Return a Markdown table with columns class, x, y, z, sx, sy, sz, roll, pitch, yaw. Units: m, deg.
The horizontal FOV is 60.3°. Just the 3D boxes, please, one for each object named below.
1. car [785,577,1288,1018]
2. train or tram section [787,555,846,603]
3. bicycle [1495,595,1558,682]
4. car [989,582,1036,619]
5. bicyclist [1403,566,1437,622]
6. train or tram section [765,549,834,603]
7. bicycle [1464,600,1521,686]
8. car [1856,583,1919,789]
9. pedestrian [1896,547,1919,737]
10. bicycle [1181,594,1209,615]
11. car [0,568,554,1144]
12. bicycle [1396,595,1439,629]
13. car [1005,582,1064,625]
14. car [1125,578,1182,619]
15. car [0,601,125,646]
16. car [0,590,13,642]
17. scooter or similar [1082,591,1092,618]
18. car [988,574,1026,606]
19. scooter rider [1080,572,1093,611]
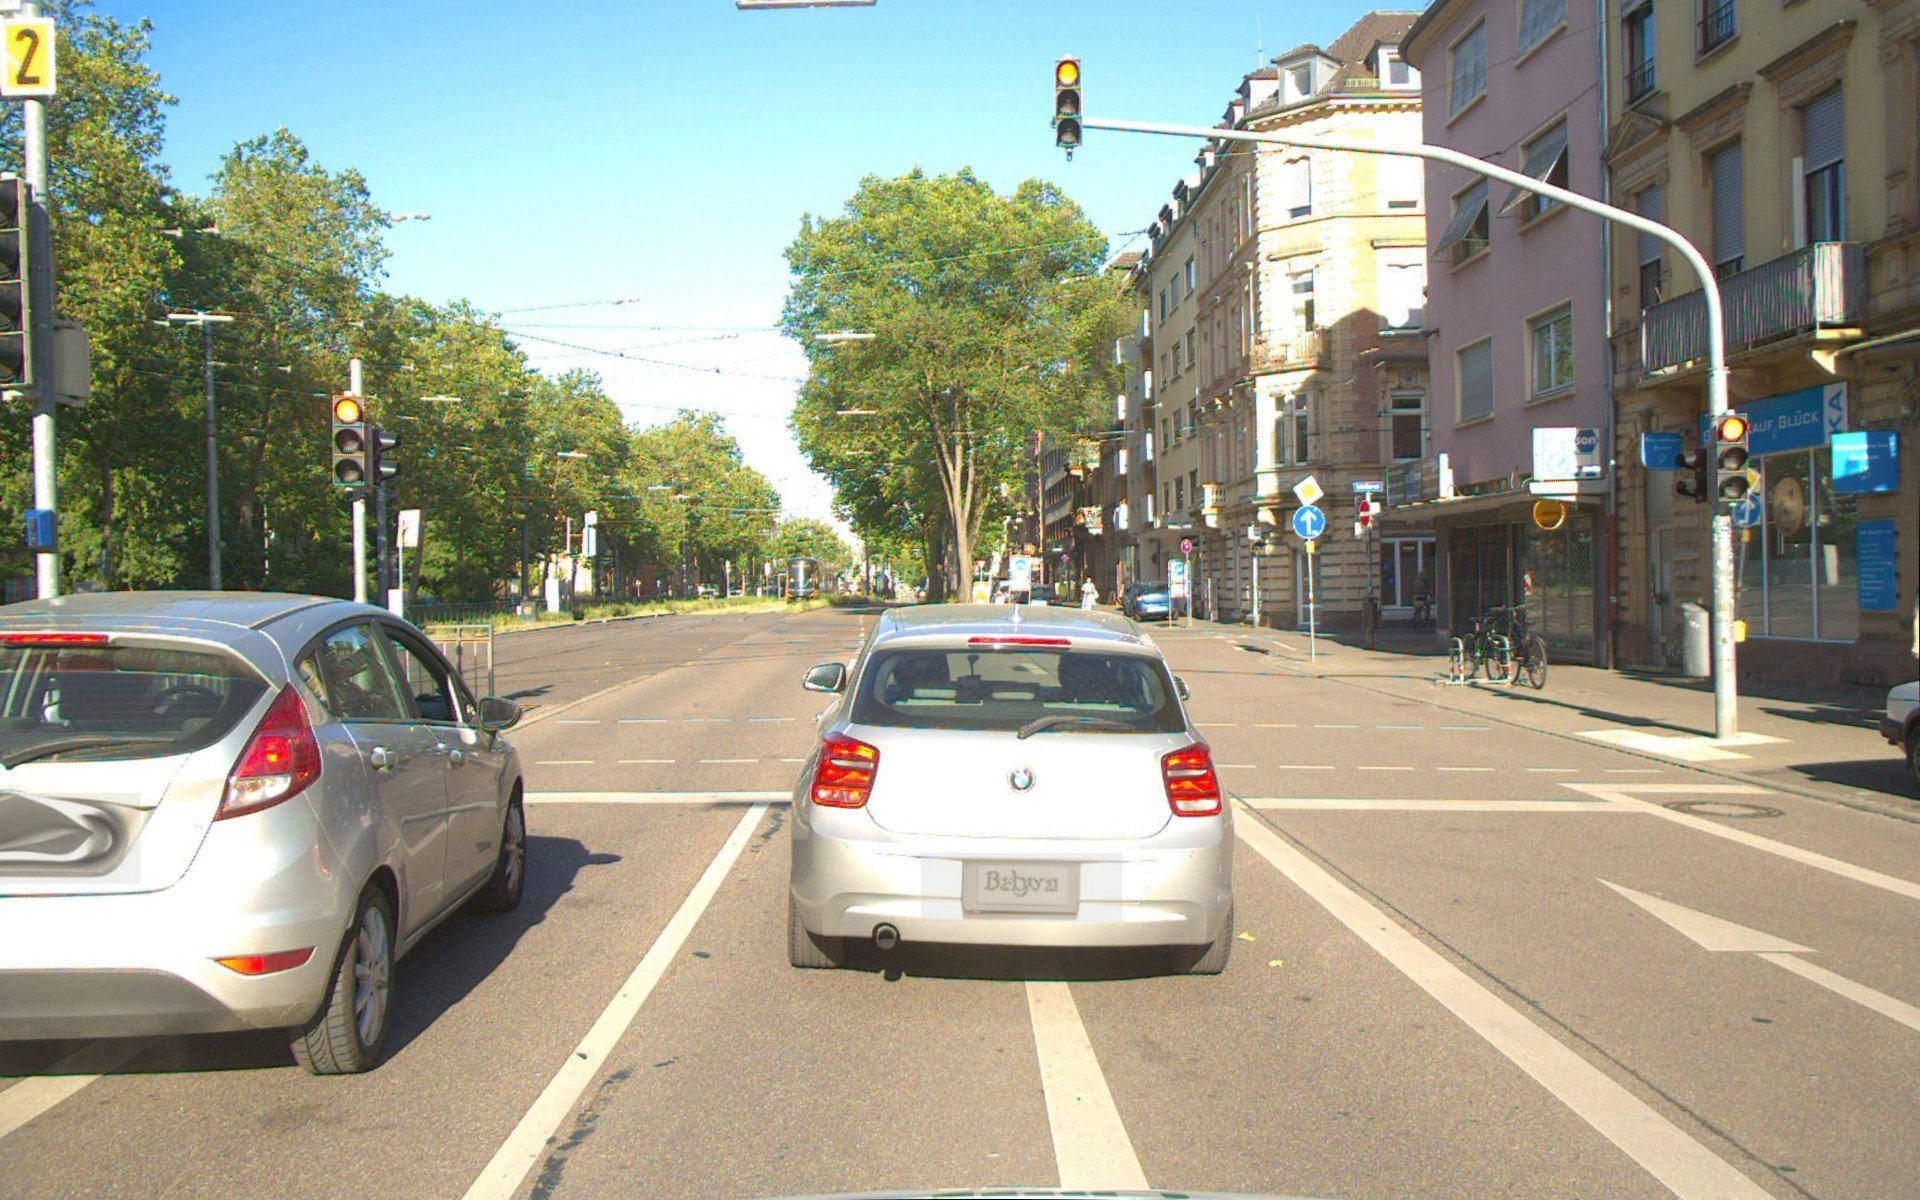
| class | x | y | z | sx | sy | sz | roll | pitch | yaw |
| --- | --- | --- | --- | --- | --- | --- | --- | --- | --- |
| car | 0.233 | 0.657 | 7.667 | 1.705 | 1.493 | 3.999 | 1 | 1 | -1 |
| train or tram section | -12.672 | -1.875 | 147.871 | 3.924 | 3.933 | 17.486 | -1 | 1 | -1 |
| bicycle | 8.098 | 0.525 | 23.691 | 0.439 | 1.179 | 1.759 | -1 | 1 | 5 |
| car | 2.171 | 0.002 | 69.210 | 1.690 | 1.533 | 3.553 | 0 | 1 | -2 |
| bicyclist | 12.756 | -0.167 | 45.882 | 0.538 | 1.528 | 0.956 | -1 | 1 | 40 |
| train or tram section | -12.480 | -1.901 | 130.357 | 3.888 | 3.933 | 17.486 | -1 | 1 | -1 |
| bicycle | 7.609 | 0.593 | 23.687 | 0.405 | 1.160 | 1.811 | 0 | 1 | 5 |
| car | 7.628 | 0.596 | 10.544 | 1.531 | 1.440 | 4.003 | -4 | 1 | -1 |
| pedestrian | 9.039 | 0.377 | 15.284 | 0.538 | 1.738 | 0.388 | -1 | 0 | 2 |
| bicycle | 9.175 | 0.159 | 64.651 | 0.739 | 0.784 | 1.944 | -1 | 1 | -2 |
| car | -2.652 | 0.650 | 6.255 | 1.578 | 1.493 | 3.886 | -1 | 1 | -5 |
| bicycle | 12.693 | 0.323 | 45.854 | 0.642 | 0.919 | 1.331 | 0 | 1 | 41 |
| car | 2.594 | 0.095 | 58.441 | 1.701 | 1.458 | 3.675 | 0 | 1 | -3 |
| car | 7.467 | -0.076 | 64.222 | 1.700 | 1.546 | 3.635 | 0 | 1 | -2 |
| car | -29.385 | 0.745 | 54.040 | 1.897 | 1.372 | 4.847 | -1 | 0 | -2 |
| car | -29.408 | 0.509 | 47.965 | 1.636 | 1.536 | 4.143 | -1 | 1 | -2 |
| scooter or similar | 5.001 | 0.171 | 64.948 | 0.330 | 1.005 | 1.285 | -1 | 1 | 7 |
| car | 2.319 | -0.519 | 82.454 | 1.690 | 1.533 | 3.553 | 0 | 1 | -2 |
| scooter rider | 4.980 | -0.341 | 64.962 | 0.455 | 1.531 | 0.811 | -1 | 0 | 7 |
